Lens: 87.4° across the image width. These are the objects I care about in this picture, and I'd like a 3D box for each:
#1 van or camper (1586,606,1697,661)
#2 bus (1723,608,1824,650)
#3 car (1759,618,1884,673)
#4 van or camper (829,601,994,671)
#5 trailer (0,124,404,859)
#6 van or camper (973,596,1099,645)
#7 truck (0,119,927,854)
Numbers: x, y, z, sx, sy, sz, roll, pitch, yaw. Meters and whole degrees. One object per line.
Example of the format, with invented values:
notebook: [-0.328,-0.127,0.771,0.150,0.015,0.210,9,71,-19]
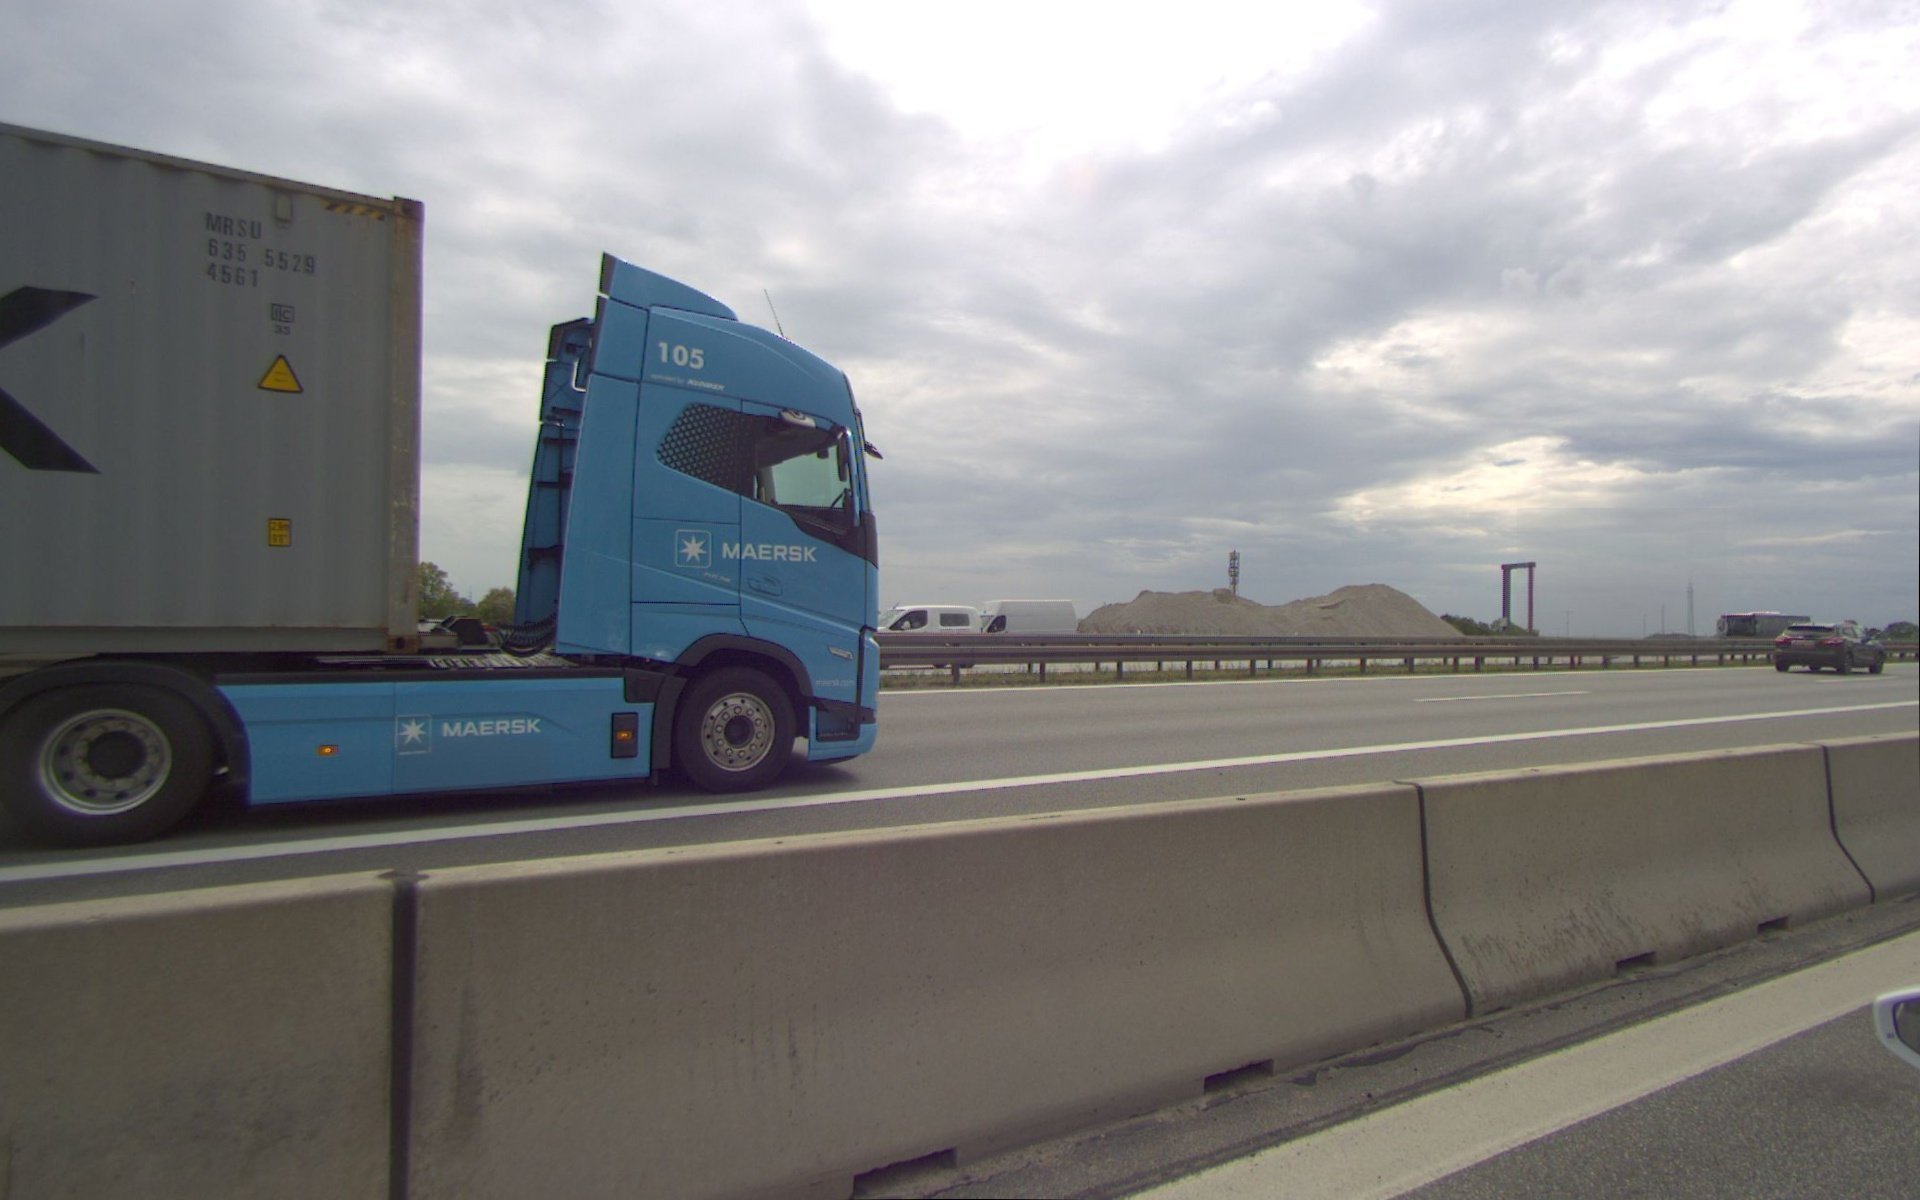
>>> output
van or camper: [34.738,1.682,51.117,6.829,2.654,2.174,1,0,-33]
bus: [73.845,2.661,91.024,12.850,3.488,3.196,2,0,-33]
car: [27.509,1.426,32.048,4.370,1.619,1.881,1,0,-33]
van or camper: [-1.384,1.005,28.813,4.298,1.853,1.983,1,0,-31]
trailer: [-9.624,-0.721,4.550,12.244,3.976,3.218,2,0,-32]
van or camper: [3.603,0.963,47.220,5.747,2.200,2.174,1,0,-33]
truck: [-3.924,-0.563,8.107,6.535,3.964,3.230,1,0,-32]
